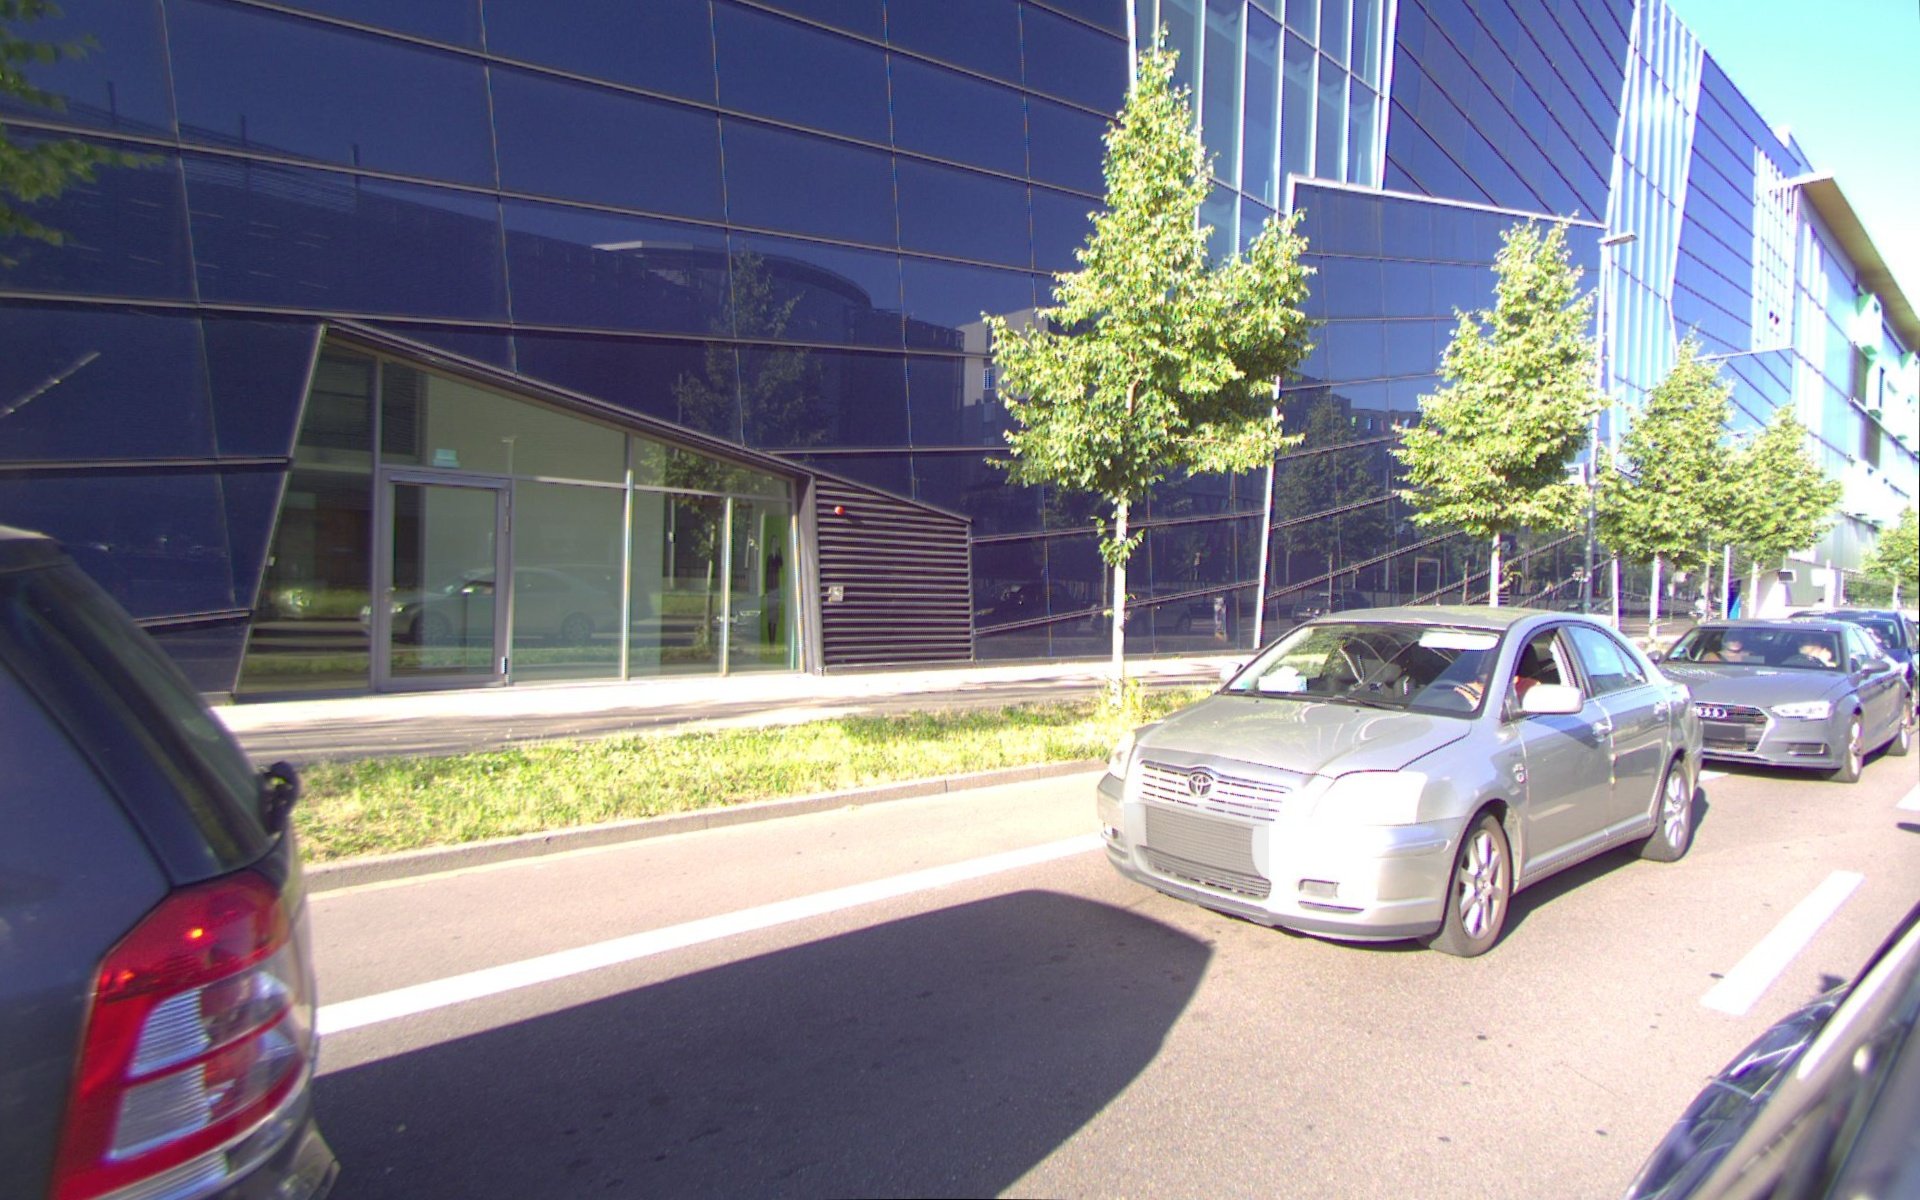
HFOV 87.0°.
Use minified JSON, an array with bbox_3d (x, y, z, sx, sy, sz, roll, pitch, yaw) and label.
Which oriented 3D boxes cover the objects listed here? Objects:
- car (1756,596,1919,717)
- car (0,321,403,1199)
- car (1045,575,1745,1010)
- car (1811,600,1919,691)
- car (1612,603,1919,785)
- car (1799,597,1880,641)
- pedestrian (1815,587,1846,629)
[{"bbox_3d":[12.991,0.718,14.547,3.902,1.497,1.752,1,0,-41],"label":"car"},{"bbox_3d":[-2.818,0.589,0.516,4.186,1.717,1.748,0,0,-41],"label":"car"},{"bbox_3d":[2.712,0.653,5.679,4.546,1.500,1.749,0,2,-40],"label":"car"},{"bbox_3d":[16.851,0.764,18.302,3.358,1.497,1.752,1,0,-41],"label":"car"},{"bbox_3d":[8.250,0.754,10.081,4.187,1.409,1.750,0,1,-39],"label":"car"},{"bbox_3d":[34.514,0.717,39.661,4.633,1.516,1.739,1,3,-41],"label":"car"},{"bbox_3d":[40.959,0.373,47.610,0.889,1.846,0.829,1,4,-41],"label":"pedestrian"}]
